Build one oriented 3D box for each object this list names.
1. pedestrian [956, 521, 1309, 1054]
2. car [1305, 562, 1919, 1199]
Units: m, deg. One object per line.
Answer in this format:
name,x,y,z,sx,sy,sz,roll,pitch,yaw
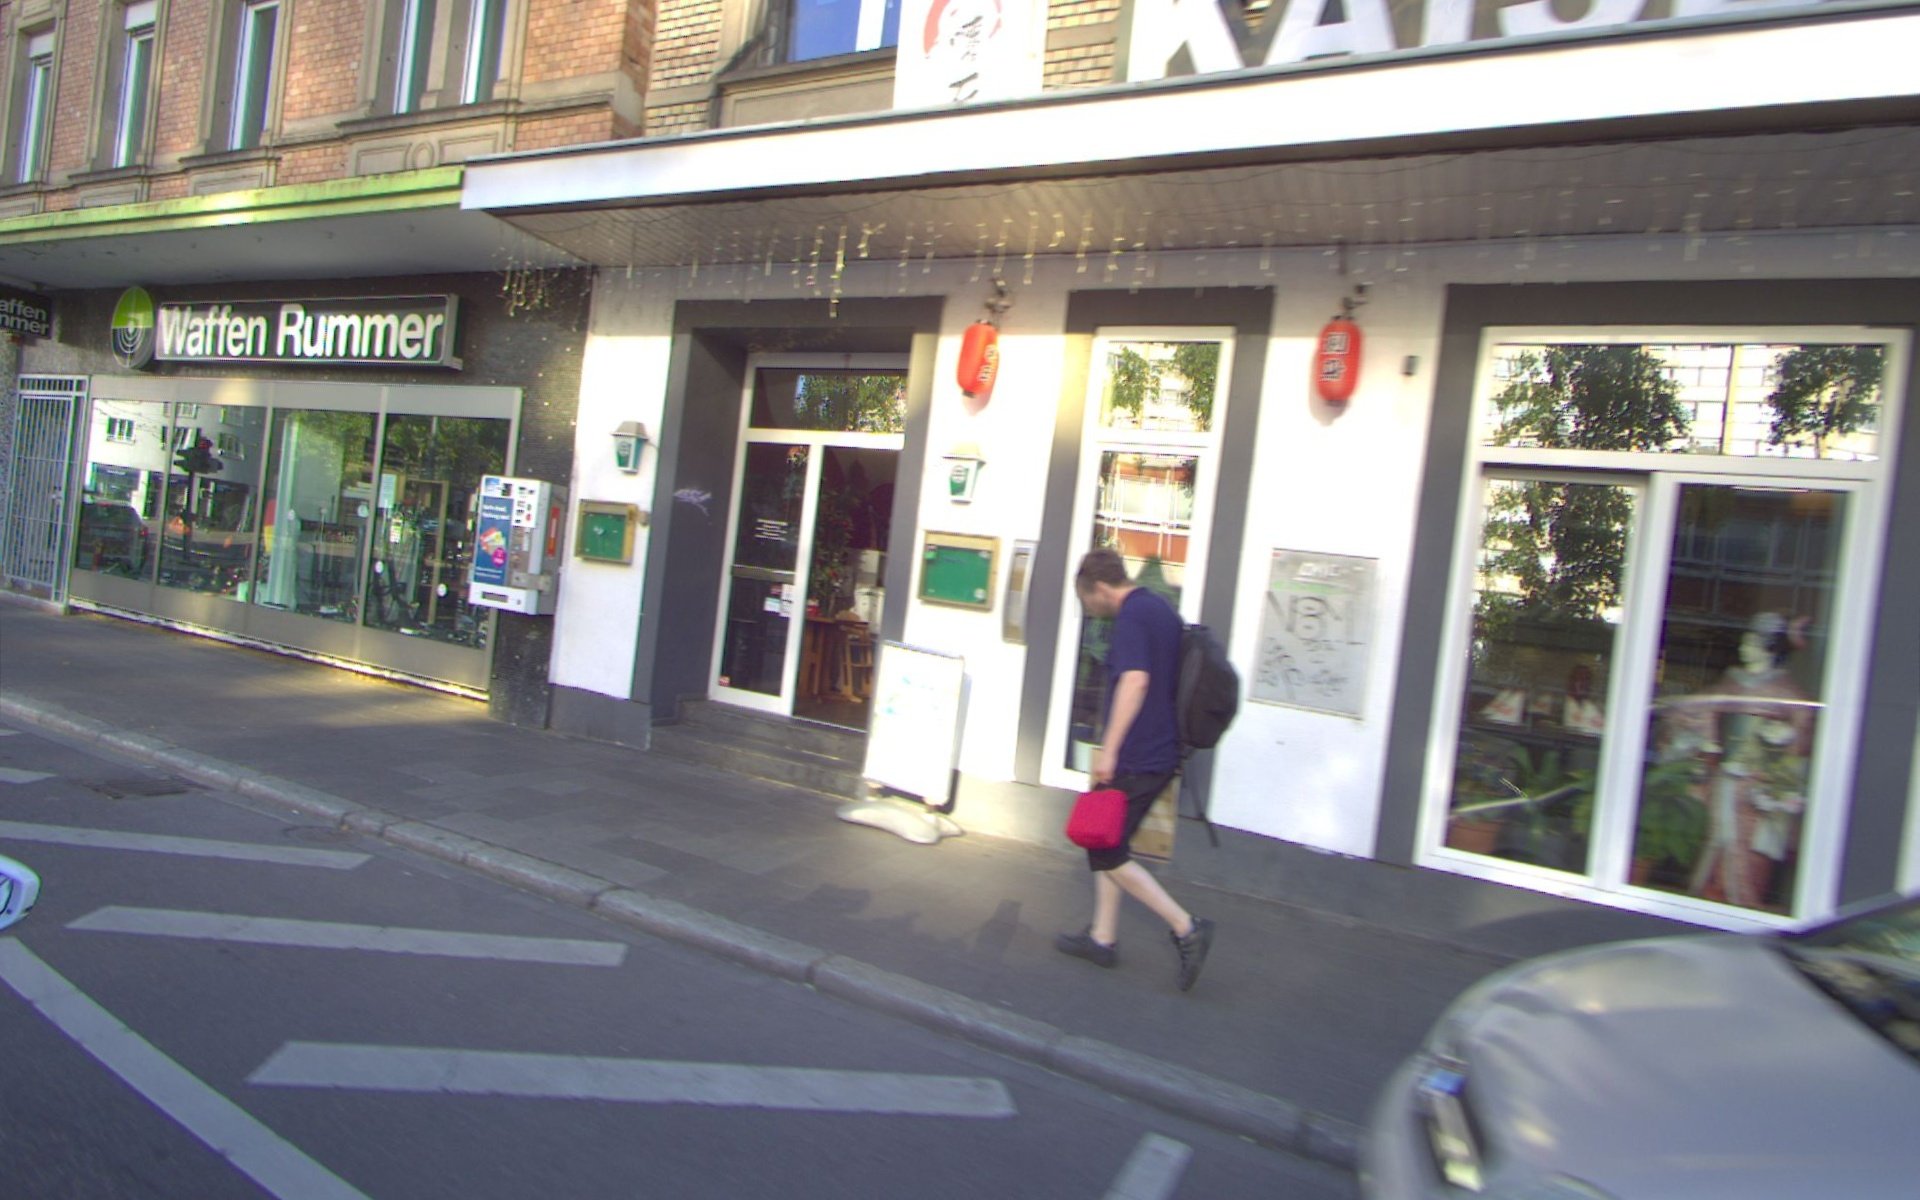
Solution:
pedestrian,0.747,0.670,4.188,1.036,1.816,0.948,7,2,26
car,2.527,1.038,1.240,3.874,1.634,1.642,7,0,25
